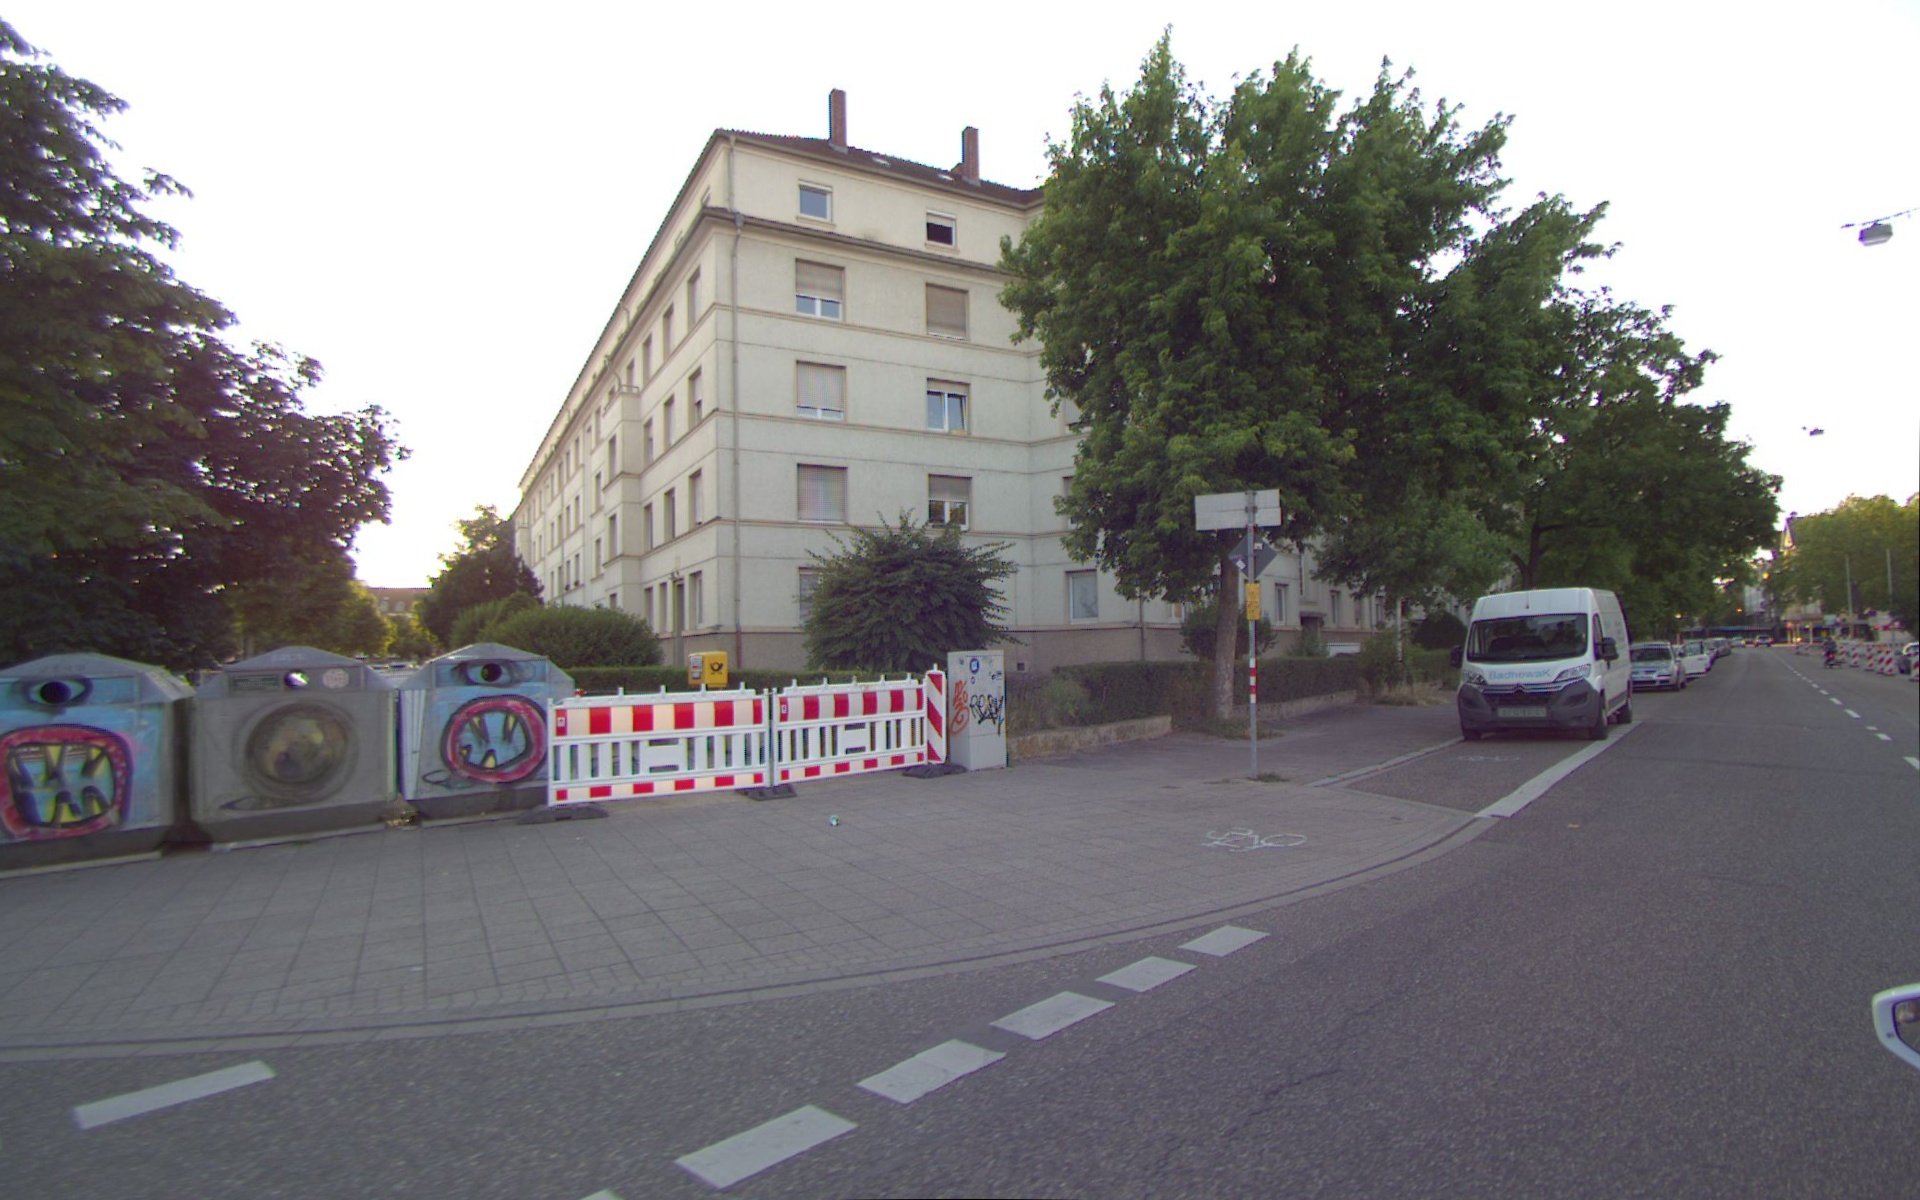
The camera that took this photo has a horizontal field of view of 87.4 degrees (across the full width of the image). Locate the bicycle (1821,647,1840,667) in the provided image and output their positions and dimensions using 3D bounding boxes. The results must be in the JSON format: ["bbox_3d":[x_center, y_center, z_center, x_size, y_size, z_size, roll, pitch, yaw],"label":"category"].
[{"bbox_3d":[50.566,3.309,58.369,0.633,1.129,3.042,-3,-4,39],"label":"bicycle"}]

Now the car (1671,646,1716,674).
[{"bbox_3d":[41.245,3.366,56.459,1.736,1.461,3.439,-7,-6,39],"label":"car"}]

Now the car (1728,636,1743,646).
[{"bbox_3d":[118.454,6.238,153.462,1.735,1.461,3.441,-7,-6,37],"label":"car"}]

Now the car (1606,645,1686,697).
[{"bbox_3d":[22.382,2.295,32.709,1.736,1.502,3.911,-7,-6,38],"label":"car"}]

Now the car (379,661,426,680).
[{"bbox_3d":[-65.848,8.361,118.721,4.725,2.096,1.989,0,-3,-25],"label":"car"}]

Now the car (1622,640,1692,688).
[{"bbox_3d":[25.895,2.361,37.271,1.736,1.624,3.911,-7,-6,38],"label":"car"}]

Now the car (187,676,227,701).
[{"bbox_3d":[-48.057,5.634,64.169,1.601,1.488,3.965,0,-4,-31],"label":"car"}]

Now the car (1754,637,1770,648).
[{"bbox_3d":[125.350,6.646,157.029,1.673,1.461,3.443,-6,-6,35],"label":"car"}]

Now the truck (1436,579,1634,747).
[{"bbox_3d":[10.324,1.084,17.749,2.076,2.454,6.021,-5,-5,38],"label":"truck"}]

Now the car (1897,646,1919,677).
[{"bbox_3d":[45.941,2.869,47.665,1.758,1.408,3.983,-4,-4,38],"label":"car"}]

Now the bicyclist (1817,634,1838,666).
[{"bbox_3d":[50.929,2.952,58.983,0.782,1.823,1.013,-3,-4,39],"label":"bicyclist"}]
